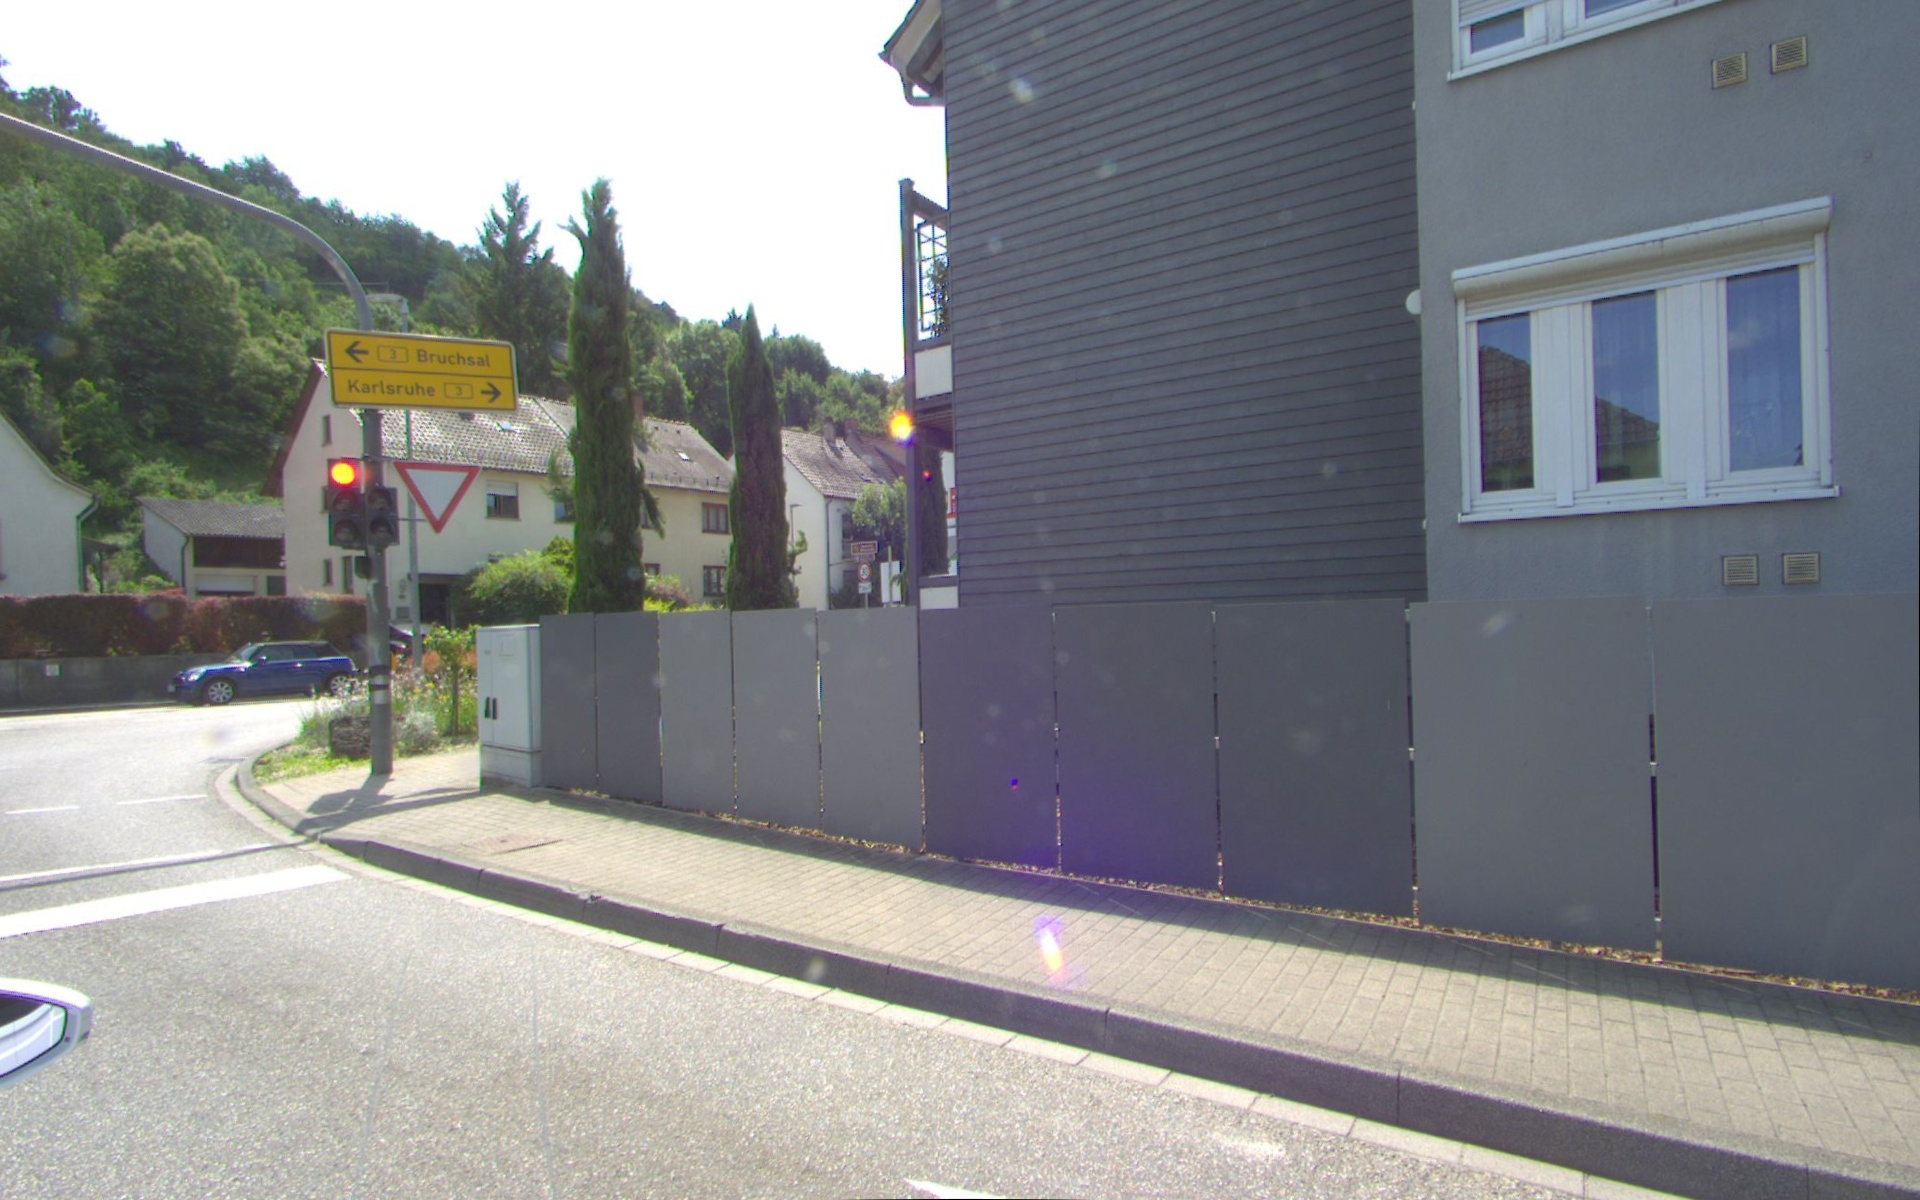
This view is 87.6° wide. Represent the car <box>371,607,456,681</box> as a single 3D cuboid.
[{"bbox_3d":[-17.283,1.318,31.571,1.780,1.410,3.650,0,12,-38],"label":"car"}]

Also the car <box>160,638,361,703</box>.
[{"bbox_3d":[-16.467,1.628,23.705,1.624,1.379,3.597,-5,-4,36],"label":"car"}]
